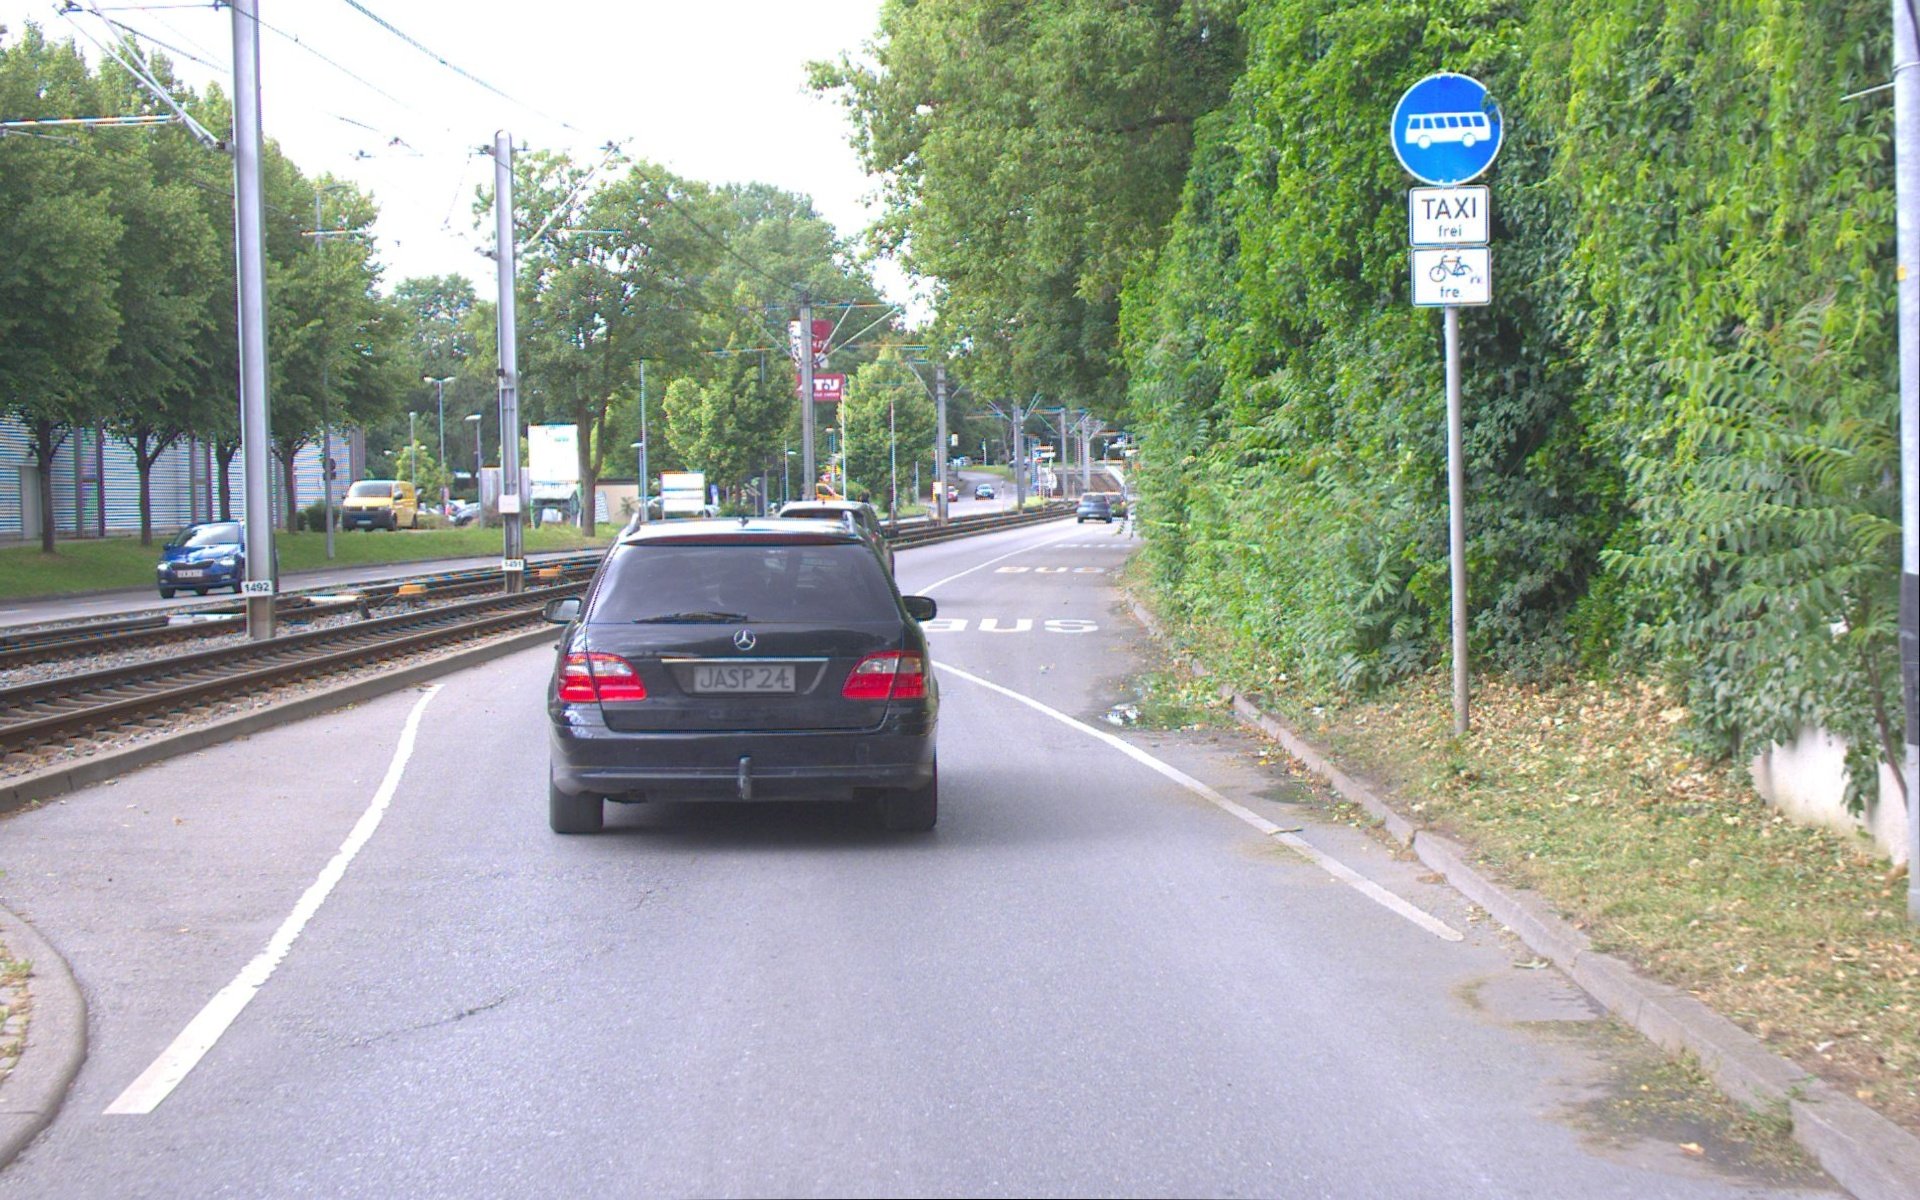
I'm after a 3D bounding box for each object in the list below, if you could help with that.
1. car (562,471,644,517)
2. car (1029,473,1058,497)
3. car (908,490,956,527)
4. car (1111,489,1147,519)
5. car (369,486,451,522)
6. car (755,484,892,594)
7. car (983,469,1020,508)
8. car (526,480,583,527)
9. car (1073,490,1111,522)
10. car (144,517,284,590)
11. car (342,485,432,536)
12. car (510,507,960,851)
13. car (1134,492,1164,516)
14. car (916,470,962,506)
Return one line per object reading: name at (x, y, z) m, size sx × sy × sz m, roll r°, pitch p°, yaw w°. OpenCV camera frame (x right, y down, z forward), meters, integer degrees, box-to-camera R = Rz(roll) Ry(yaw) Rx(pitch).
car at (-18.172, -5.412, 175.298) m, size 3.986 × 2.116 × 2.000 m, roll -3°, pitch 1°, yaw -4°
car at (5.483, -7.567, 226.291) m, size 1.825 × 1.524 × 4.179 m, roll 0°, pitch 2°, yaw 2°
car at (-1.179, -3.837, 144.146) m, size 1.825 × 1.524 × 3.986 m, roll 0°, pitch 2°, yaw 2°
car at (8.890, -5.073, 181.032) m, size 1.825 × 1.524 × 4.179 m, roll 0°, pitch 2°, yaw 2°
car at (-28.728, -5.021, 179.406) m, size 3.986 × 1.674 × 2.001 m, roll -3°, pitch 1°, yaw -14°
car at (-1.952, -0.925, 50.374) m, size 1.825 × 1.524 × 4.416 m, roll 0°, pitch 2°, yaw 0°
car at (2.280, -6.123, 188.846) m, size 1.891 × 2.006 × 3.898 m, roll -3°, pitch 1°, yaw 1°
car at (-18.234, -4.329, 154.711) m, size 1.993 × 2.006 × 4.000 m, roll -3°, pitch 1°, yaw 0°
car at (6.459, -4.617, 168.680) m, size 1.825 × 1.524 × 4.416 m, roll 0°, pitch 2°, yaw 2°
car at (-14.885, -0.942, 68.730) m, size 1.660 × 1.388 × 3.718 m, roll -1°, pitch 2°, yaw 5°
car at (-20.676, -3.243, 124.244) m, size 1.994 × 1.737 × 4.987 m, roll -2°, pitch 2°, yaw 5°
car at (-0.968, 0.283, 16.989) m, size 1.833 × 1.473 × 4.416 m, roll 0°, pitch 2°, yaw 1°
car at (12.207, -6.213, 221.893) m, size 1.825 × 1.524 × 4.179 m, roll 0°, pitch 2°, yaw 2°
car at (-0.889, -4.847, 148.896) m, size 1.825 × 1.524 × 3.986 m, roll 0°, pitch 2°, yaw 2°
